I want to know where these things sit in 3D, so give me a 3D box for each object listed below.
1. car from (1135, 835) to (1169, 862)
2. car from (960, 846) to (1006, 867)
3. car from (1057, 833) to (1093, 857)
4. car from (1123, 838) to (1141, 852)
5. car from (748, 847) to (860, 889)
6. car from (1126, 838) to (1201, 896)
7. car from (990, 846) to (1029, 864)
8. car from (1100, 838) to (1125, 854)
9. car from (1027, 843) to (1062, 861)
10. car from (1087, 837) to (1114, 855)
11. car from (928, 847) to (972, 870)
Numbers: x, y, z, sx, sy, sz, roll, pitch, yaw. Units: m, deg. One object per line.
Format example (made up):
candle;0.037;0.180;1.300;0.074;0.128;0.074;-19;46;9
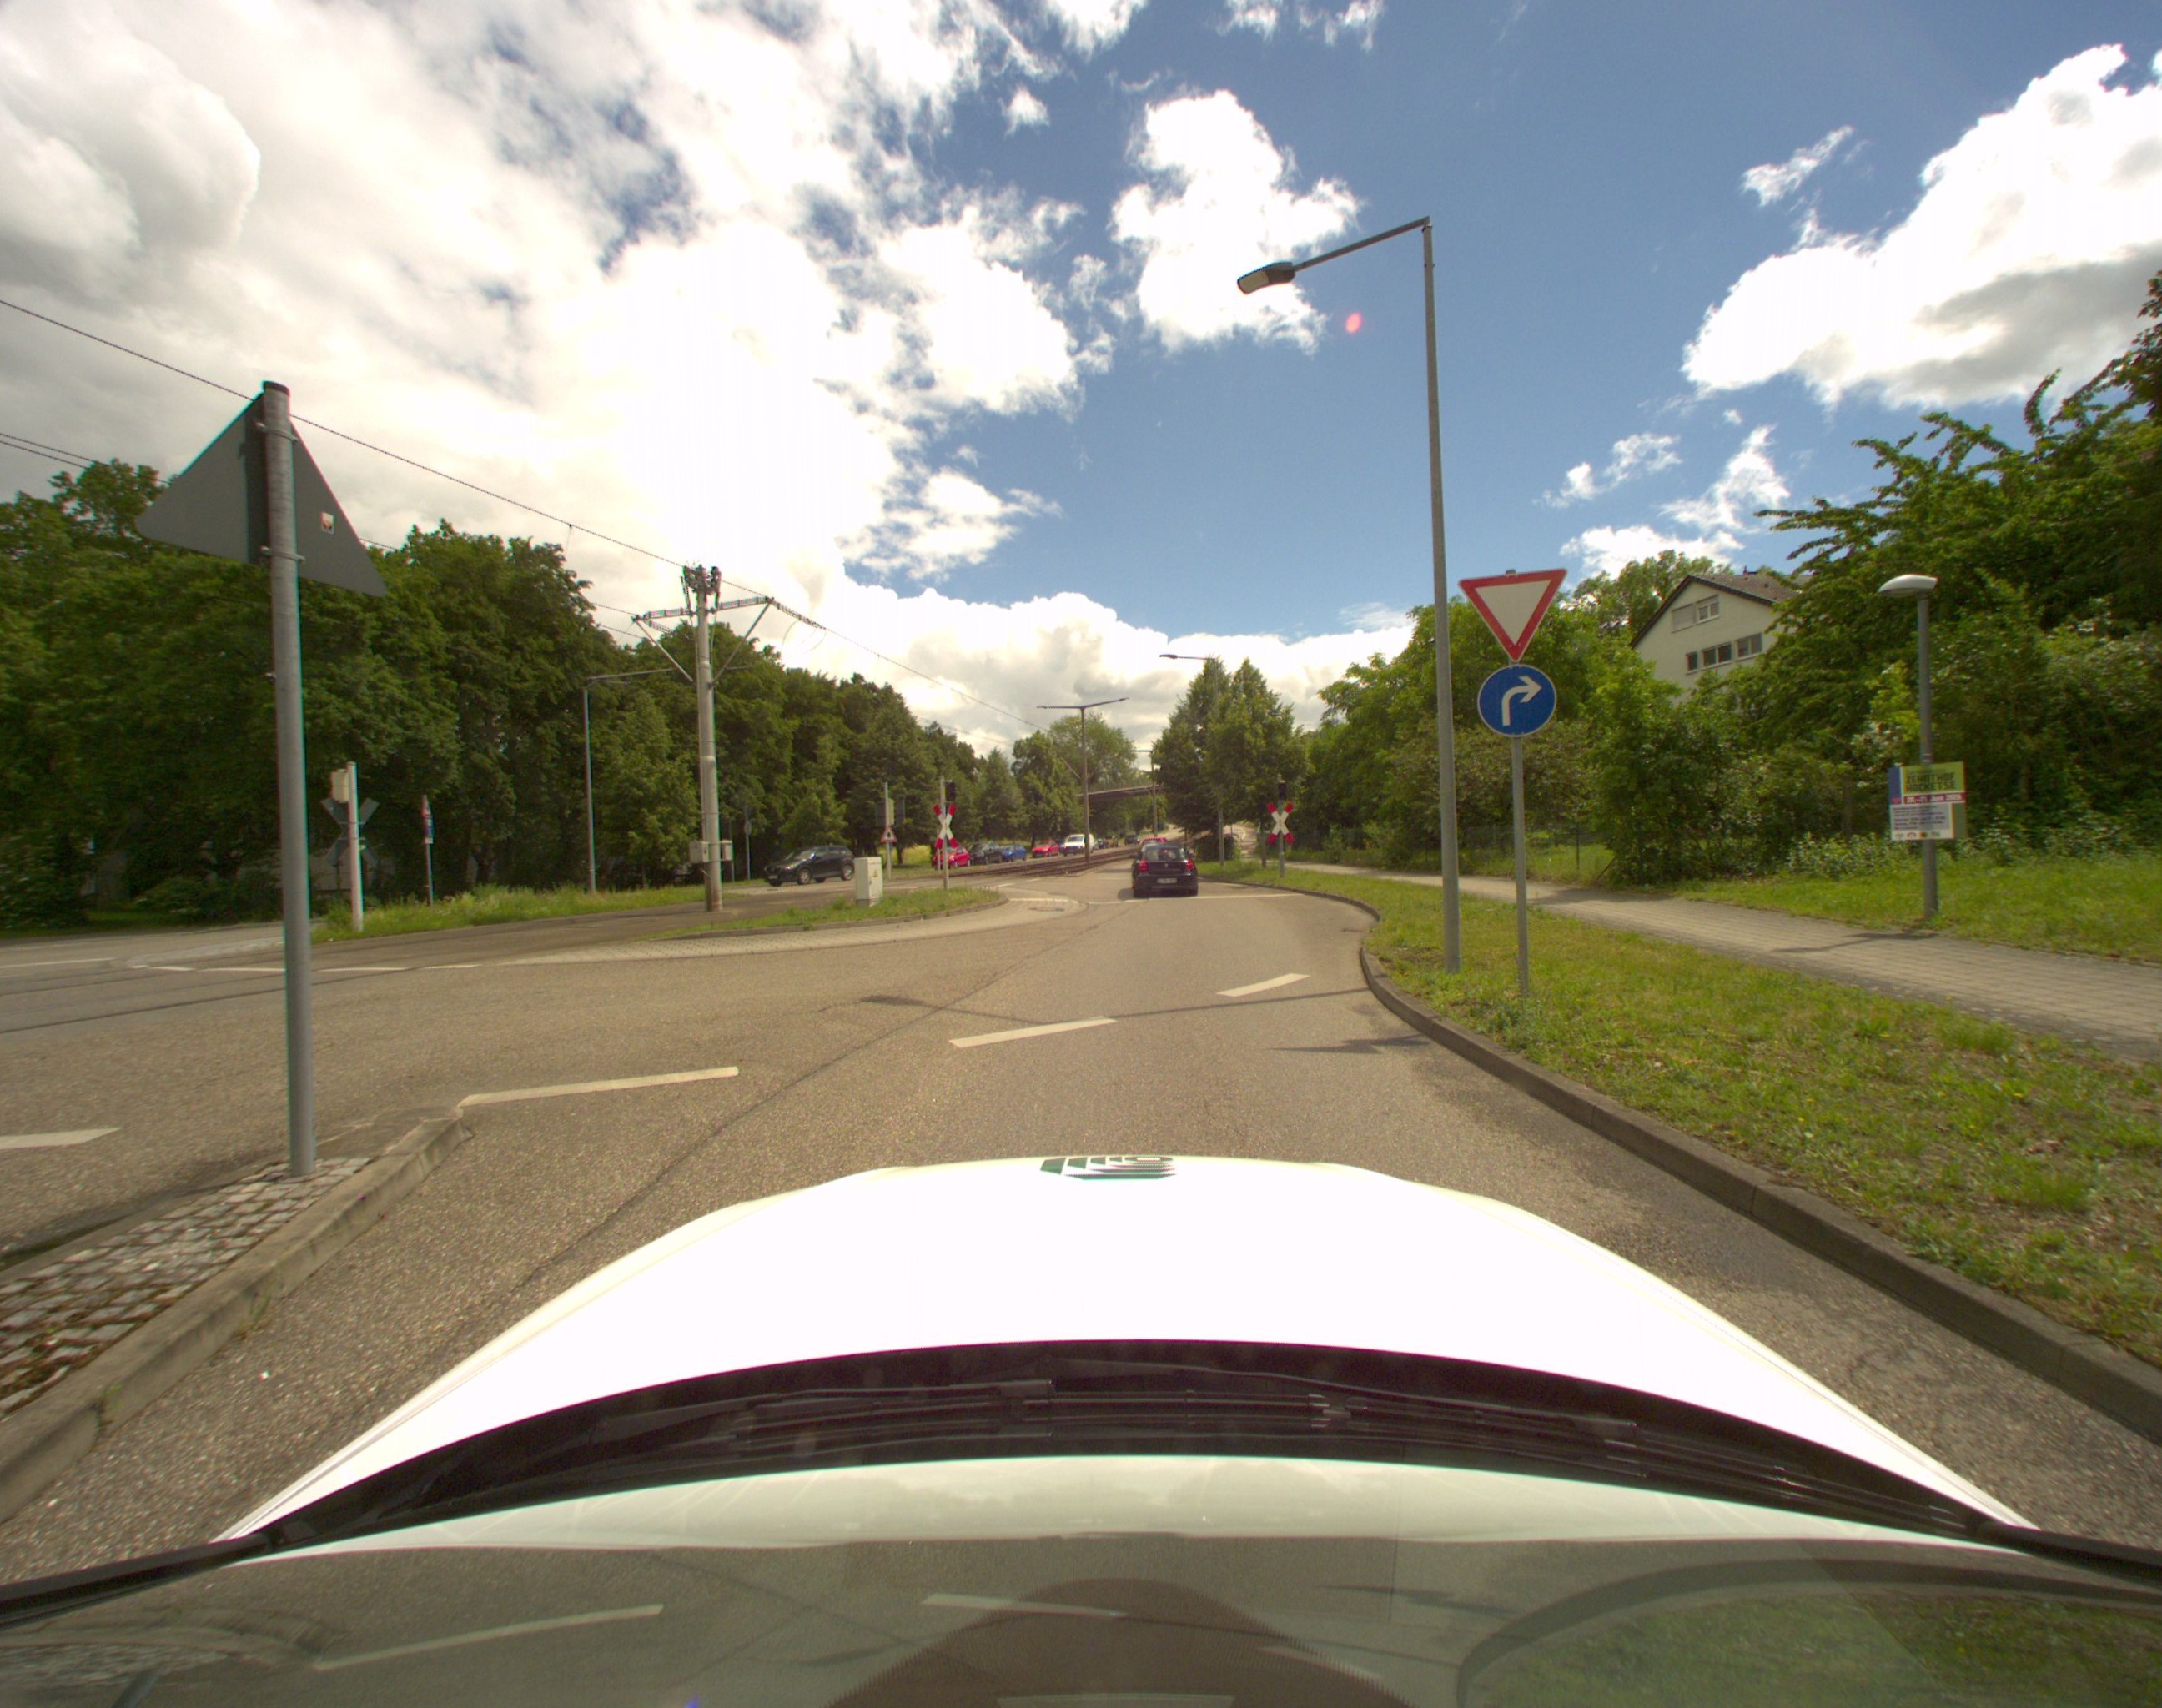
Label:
car;4.014;-0.281;46.535;1.758;1.432;3.481;-3;-1;3
car;-7.030;0.165;58.907;1.864;1.425;3.549;-2;0;20
car;-0.499;-0.853;73.310;1.978;2.013;4.018;-2;1;17
car;6.925;-1.230;110.147;1.678;1.681;4.016;-2;0;14
car;-12.059;0.580;35.798;1.974;1.597;4.447;-2;0;29
car;2.230;0.370;22.879;1.808;1.421;4.002;-3;-1;2
car;-5.579;0.044;64.082;1.792;1.254;3.585;-2;1;18
car;3.869;-0.973;100.299;1.978;1.862;4.019;-2;1;17
car;-3.295;-0.202;74.122;1.897;1.561;4.018;-2;1;17
car;2.282;-0.982;95.427;1.977;2.013;4.020;-2;1;19
car;-8.598;0.299;53.724;1.517;1.370;3.612;-2;0;15
